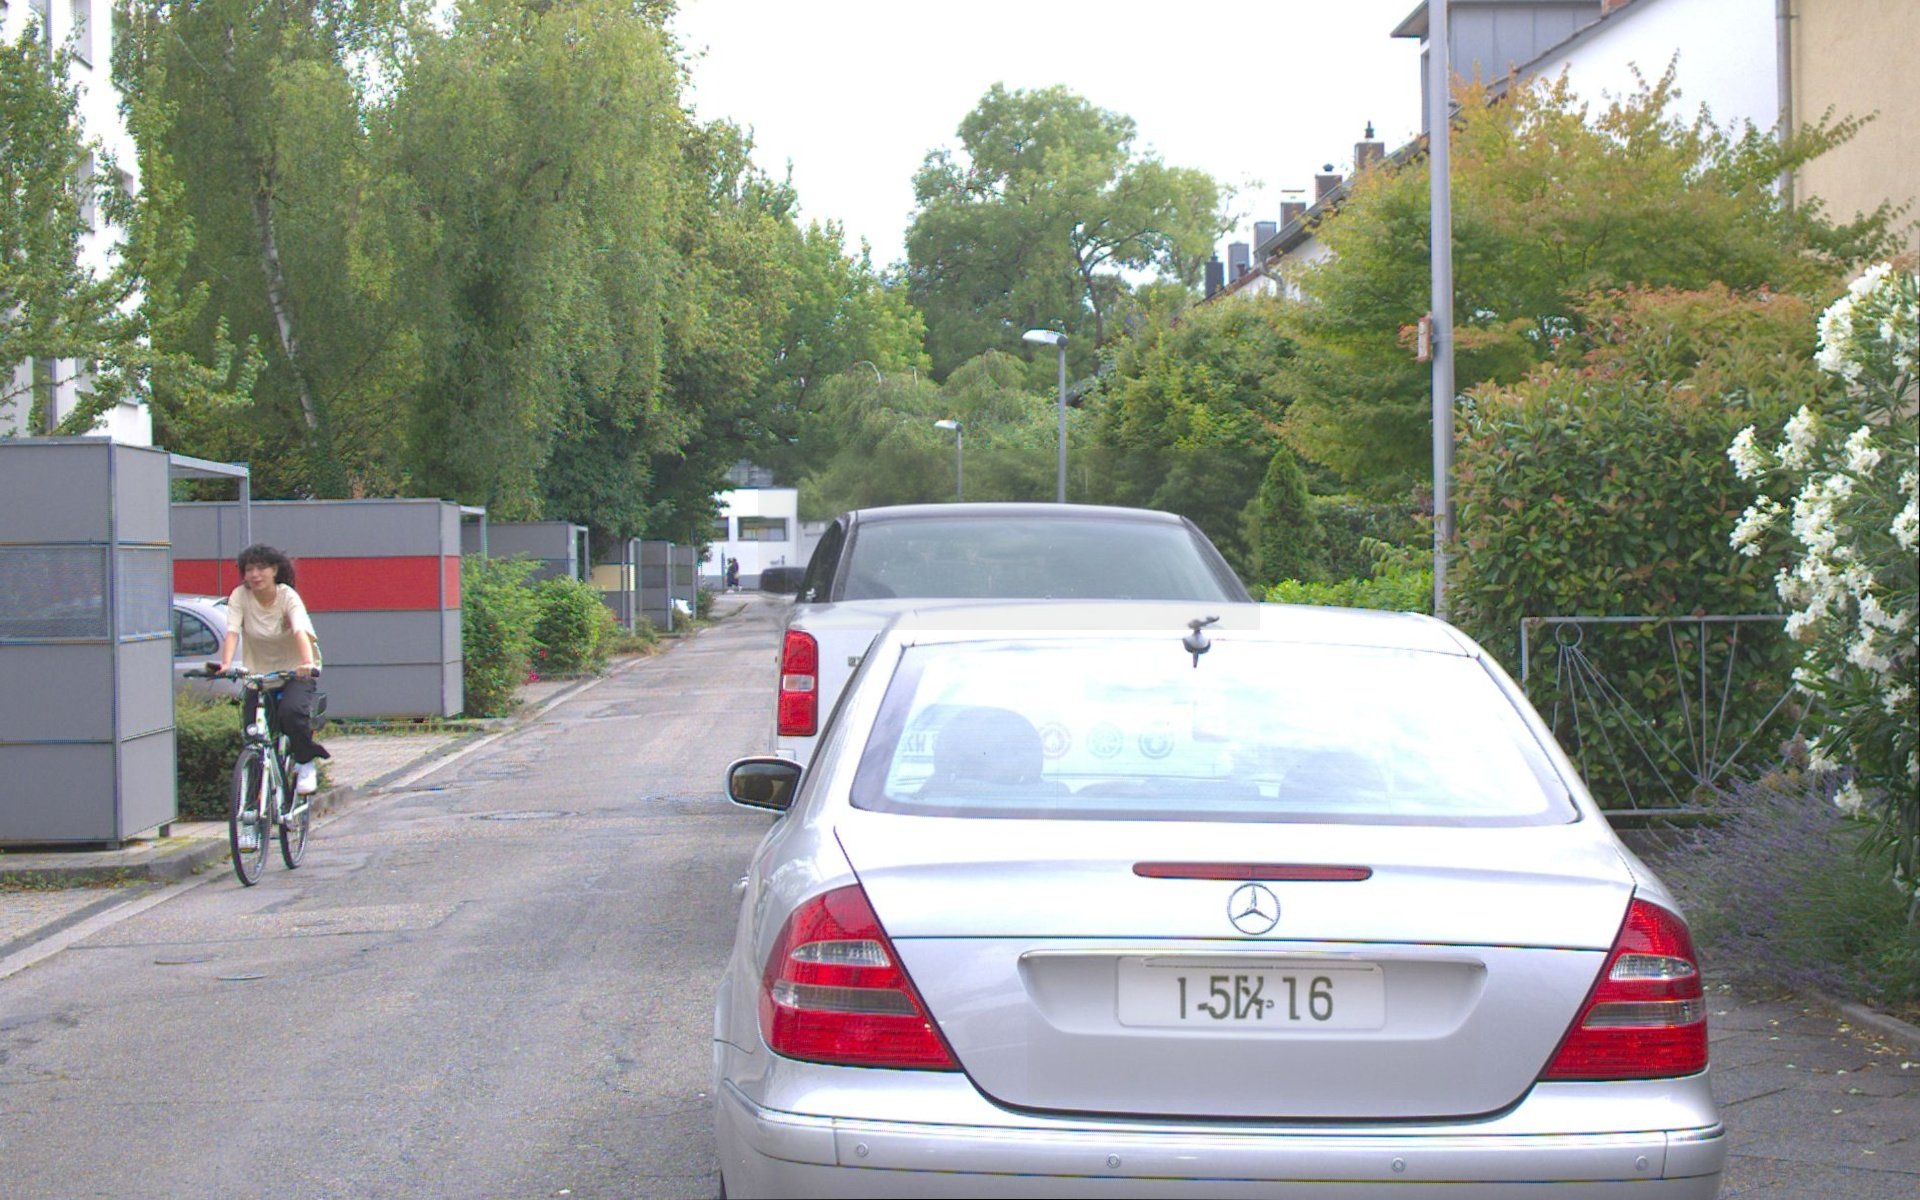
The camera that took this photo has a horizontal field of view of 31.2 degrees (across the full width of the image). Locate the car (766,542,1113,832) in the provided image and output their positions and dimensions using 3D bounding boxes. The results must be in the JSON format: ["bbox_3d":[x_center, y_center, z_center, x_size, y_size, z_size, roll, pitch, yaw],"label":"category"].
[{"bbox_3d":[-0.231,0.473,21.493,1.824,1.630,4.163,0,1,-5],"label":"car"}]

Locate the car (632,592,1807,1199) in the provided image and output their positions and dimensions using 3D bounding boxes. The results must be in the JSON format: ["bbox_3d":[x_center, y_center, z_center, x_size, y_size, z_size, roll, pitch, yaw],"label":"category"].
[{"bbox_3d":[0.371,0.716,7.463,1.783,1.416,4.455,0,1,-1],"label":"car"}]

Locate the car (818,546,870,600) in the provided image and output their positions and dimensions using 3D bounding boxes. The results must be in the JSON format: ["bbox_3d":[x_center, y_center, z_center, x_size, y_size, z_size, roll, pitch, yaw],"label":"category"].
[{"bbox_3d":[-4.183,-0.983,124.421,1.825,1.877,4.000,1,1,-2],"label":"car"}]

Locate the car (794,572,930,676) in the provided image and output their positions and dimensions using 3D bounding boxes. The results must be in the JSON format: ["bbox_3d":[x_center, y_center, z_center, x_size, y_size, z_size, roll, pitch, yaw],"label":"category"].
[{"bbox_3d":[-1.399,0.316,49.158,1.825,1.365,4.331,1,1,-2],"label":"car"}]

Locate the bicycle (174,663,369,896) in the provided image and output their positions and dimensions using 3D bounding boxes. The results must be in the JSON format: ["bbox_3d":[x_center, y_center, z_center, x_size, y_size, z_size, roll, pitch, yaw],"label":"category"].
[{"bbox_3d":[-3.583,0.907,18.042,0.597,1.072,2.042,-2,1,-1],"label":"bicycle"}]

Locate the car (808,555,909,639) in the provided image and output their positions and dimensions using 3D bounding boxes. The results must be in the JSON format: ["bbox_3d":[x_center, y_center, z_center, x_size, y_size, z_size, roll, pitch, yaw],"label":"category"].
[{"bbox_3d":[-2.034,-0.074,67.874,1.825,1.576,4.001,1,1,-4],"label":"car"}]

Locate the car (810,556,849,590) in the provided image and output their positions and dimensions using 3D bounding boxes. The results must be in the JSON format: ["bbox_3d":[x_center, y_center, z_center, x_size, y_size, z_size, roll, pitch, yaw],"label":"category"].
[{"bbox_3d":[-6.268,-1.299,165.345,1.825,1.576,4.000,1,1,-2],"label":"car"}]

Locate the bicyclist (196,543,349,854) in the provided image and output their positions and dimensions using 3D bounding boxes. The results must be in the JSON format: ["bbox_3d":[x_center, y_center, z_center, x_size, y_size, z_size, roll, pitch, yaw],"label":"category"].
[{"bbox_3d":[-3.605,0.504,18.071,0.597,1.575,0.767,-2,0,-1],"label":"bicyclist"}]

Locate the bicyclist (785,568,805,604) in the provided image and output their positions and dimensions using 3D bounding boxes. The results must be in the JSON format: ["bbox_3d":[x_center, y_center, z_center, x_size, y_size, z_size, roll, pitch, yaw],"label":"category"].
[{"bbox_3d":[-6.981,-0.606,145.744,0.798,1.506,0.934,1,0,0],"label":"bicyclist"}]

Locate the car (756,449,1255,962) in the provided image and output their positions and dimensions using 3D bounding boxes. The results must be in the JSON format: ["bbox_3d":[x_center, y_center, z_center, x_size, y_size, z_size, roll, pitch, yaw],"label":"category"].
[{"bbox_3d":[0.050,0.381,15.832,1.903,1.958,5.254,0,1,-3],"label":"car"}]

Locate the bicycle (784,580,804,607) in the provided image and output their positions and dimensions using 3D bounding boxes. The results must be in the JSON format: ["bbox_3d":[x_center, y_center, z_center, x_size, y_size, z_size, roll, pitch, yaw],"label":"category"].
[{"bbox_3d":[-7.031,-0.299,145.795,0.689,1.127,2.579,1,0,0],"label":"bicycle"}]

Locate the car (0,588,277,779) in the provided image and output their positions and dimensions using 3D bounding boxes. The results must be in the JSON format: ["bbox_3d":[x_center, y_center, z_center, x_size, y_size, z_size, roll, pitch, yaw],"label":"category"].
[{"bbox_3d":[-7.640,0.704,28.856,3.561,1.475,1.711,-2,1,-6],"label":"car"}]
